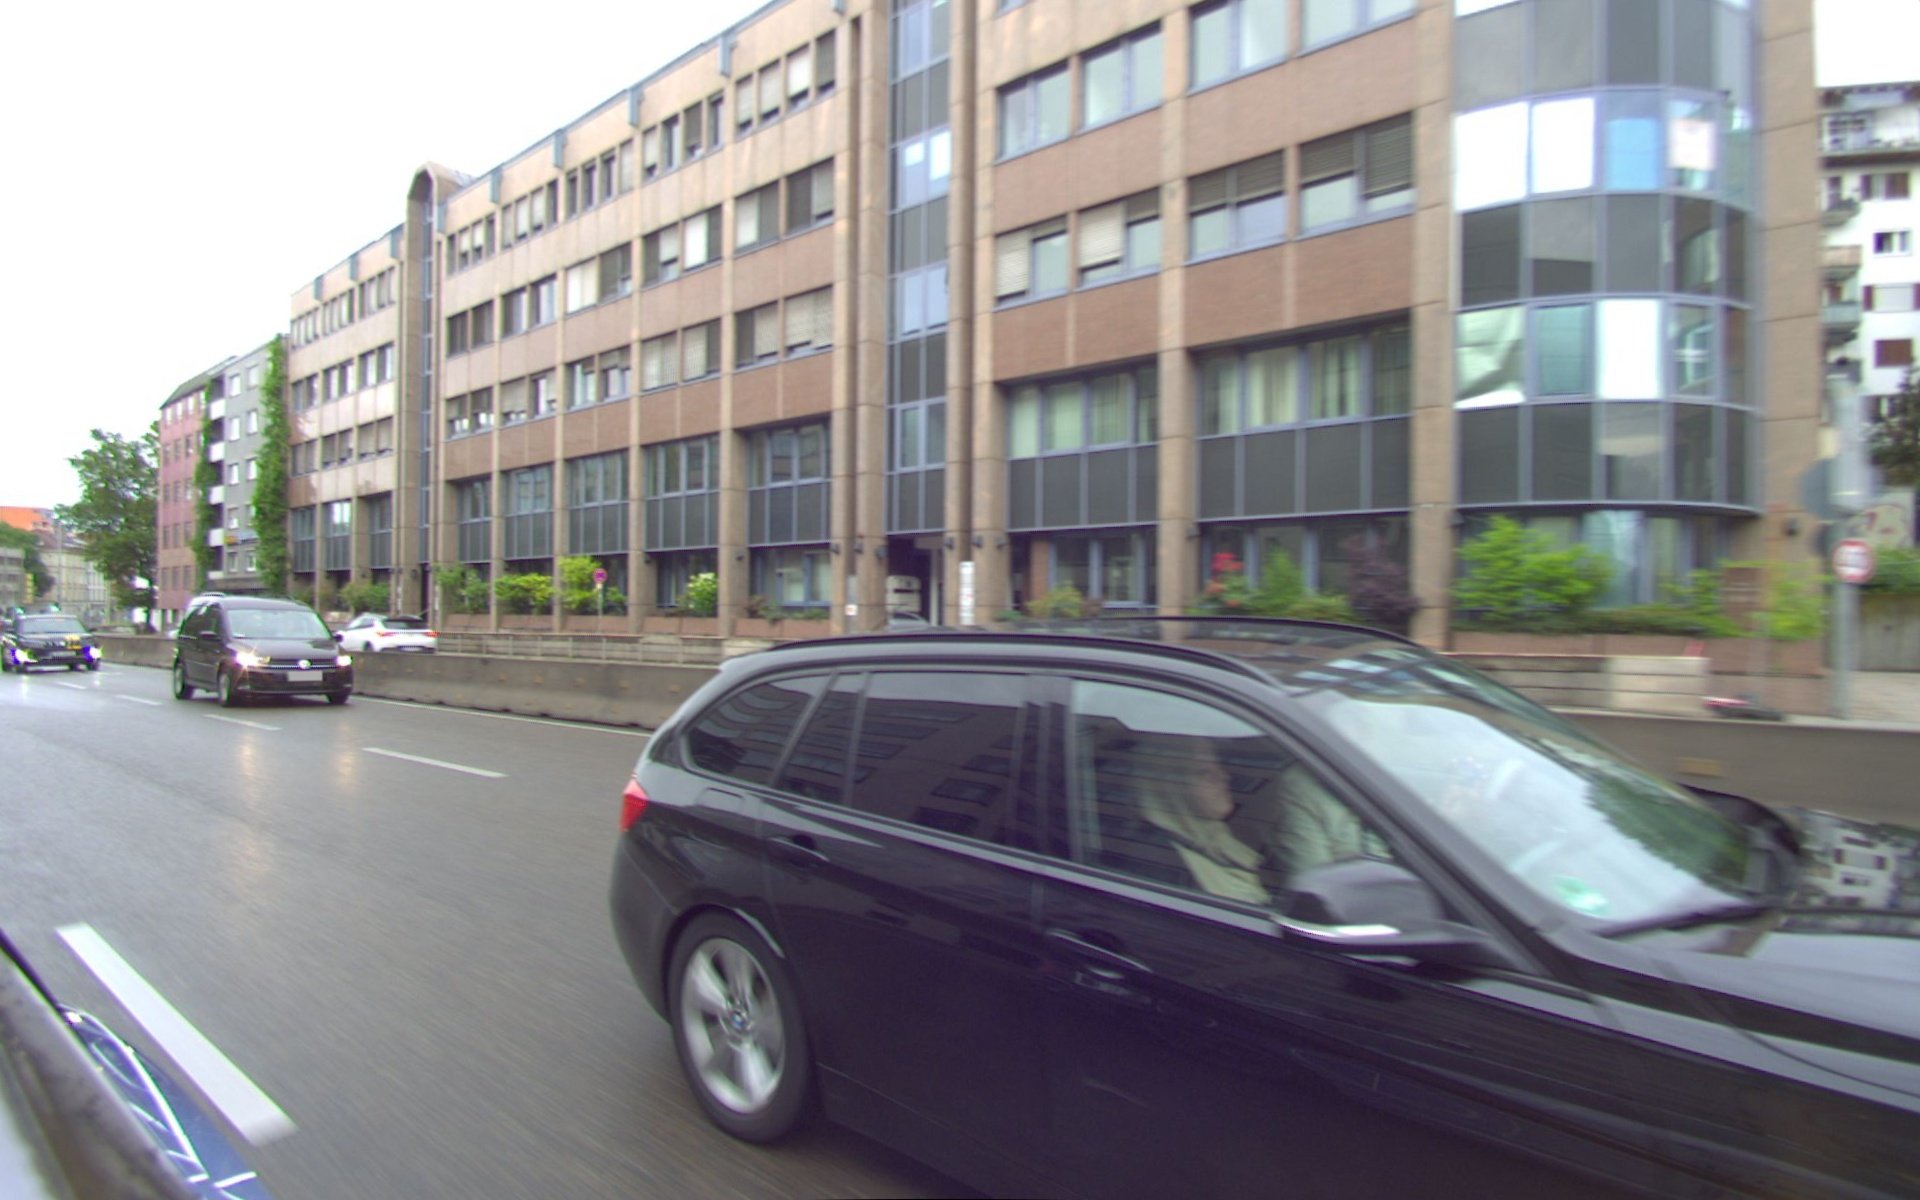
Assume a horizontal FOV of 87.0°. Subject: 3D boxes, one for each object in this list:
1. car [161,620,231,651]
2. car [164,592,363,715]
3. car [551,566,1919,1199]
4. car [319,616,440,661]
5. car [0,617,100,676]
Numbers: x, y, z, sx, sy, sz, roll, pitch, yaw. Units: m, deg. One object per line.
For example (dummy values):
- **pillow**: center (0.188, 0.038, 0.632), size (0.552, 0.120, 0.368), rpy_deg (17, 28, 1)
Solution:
- **car**: center (-33.878, 1.560, 44.849), size (3.694, 1.329, 1.702), rpy_deg (-1, -1, 40)
- **car**: center (-11.799, 0.821, 17.051), size (4.248, 1.814, 1.775), rpy_deg (-1, -1, 41)
- **car**: center (0.960, 0.711, 2.498), size (4.653, 1.454, 1.749), rpy_deg (-1, -1, 41)
- **car**: center (-18.086, 1.162, 31.449), size (4.546, 1.279, 1.826), rpy_deg (-1, -1, 40)
- **car**: center (-25.947, 1.277, 28.655), size (4.353, 1.545, 1.750), rpy_deg (-1, -1, 40)
